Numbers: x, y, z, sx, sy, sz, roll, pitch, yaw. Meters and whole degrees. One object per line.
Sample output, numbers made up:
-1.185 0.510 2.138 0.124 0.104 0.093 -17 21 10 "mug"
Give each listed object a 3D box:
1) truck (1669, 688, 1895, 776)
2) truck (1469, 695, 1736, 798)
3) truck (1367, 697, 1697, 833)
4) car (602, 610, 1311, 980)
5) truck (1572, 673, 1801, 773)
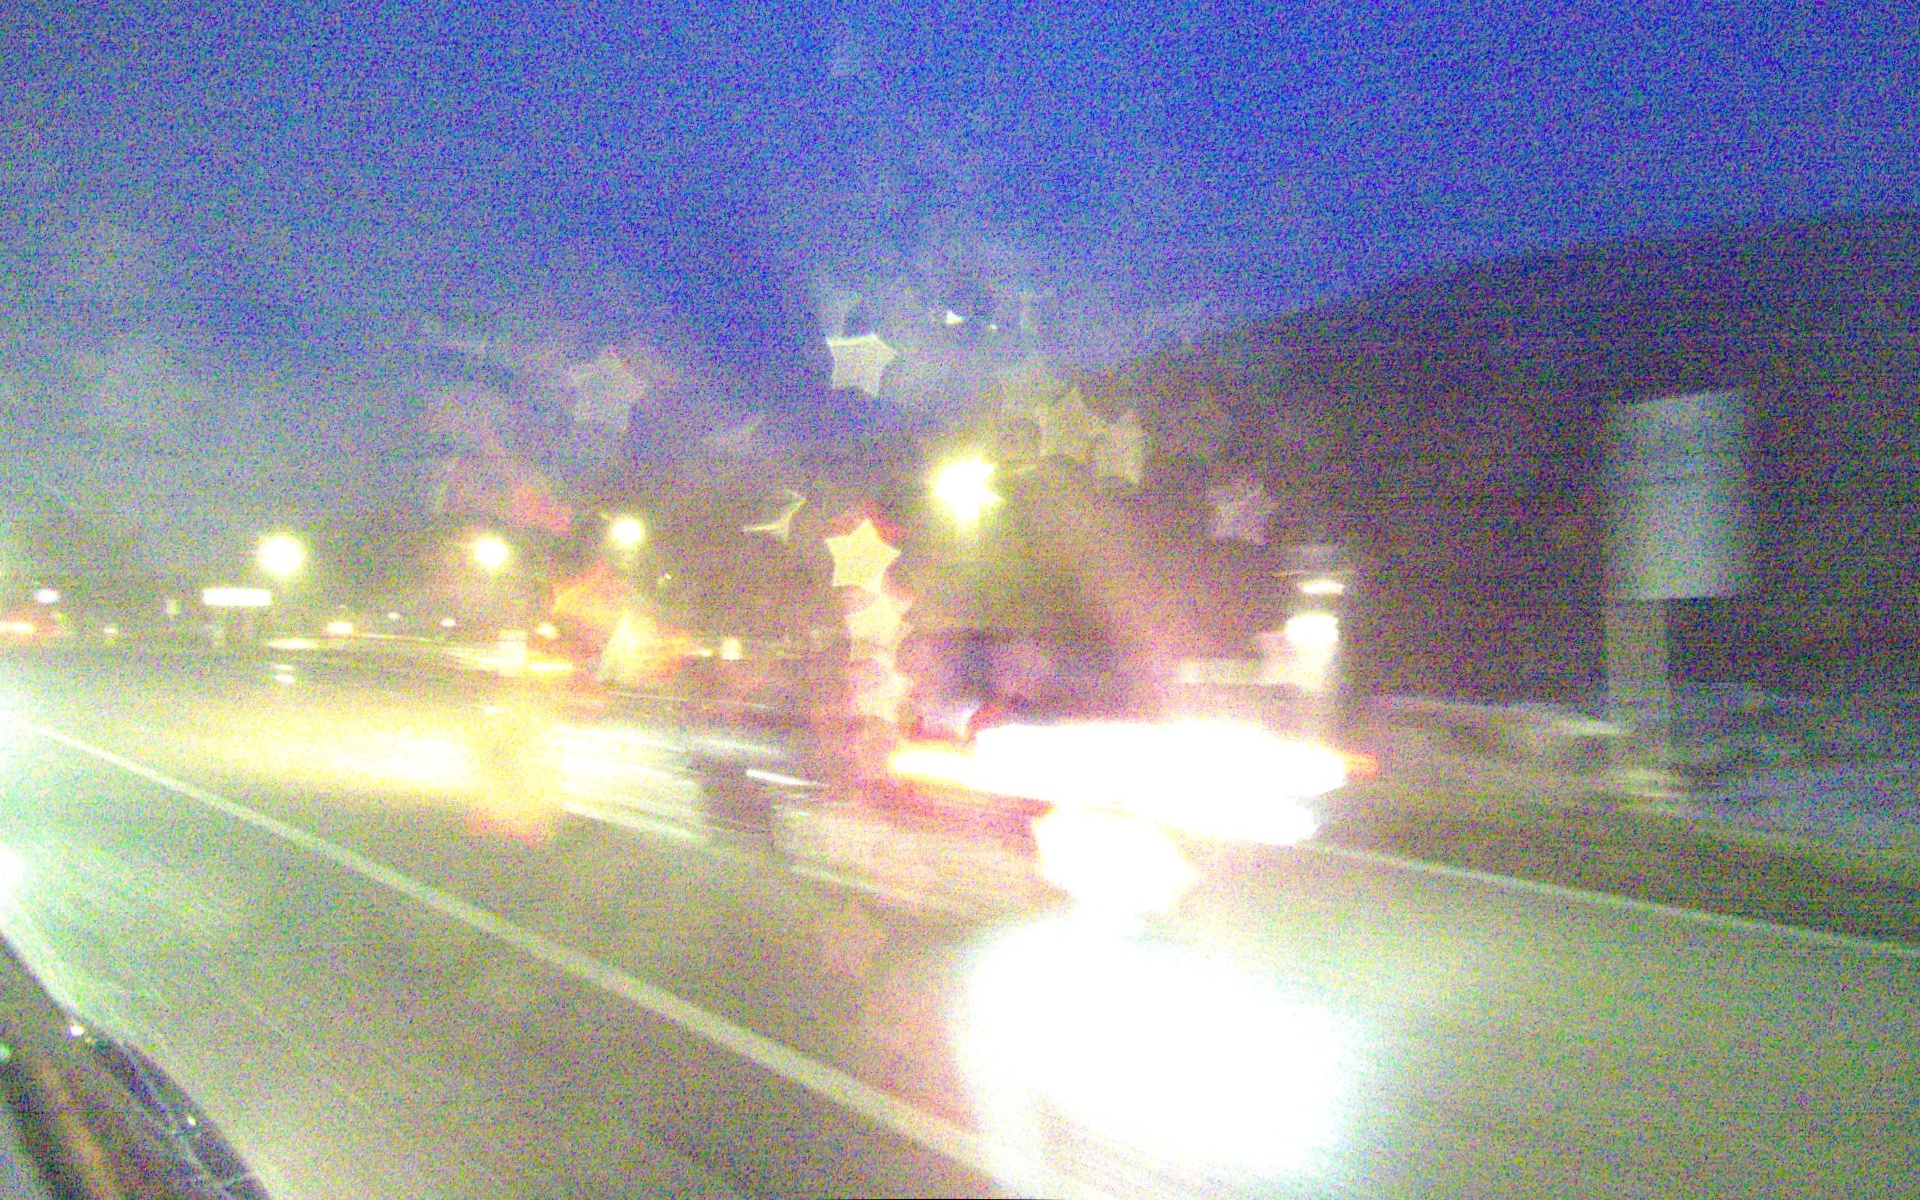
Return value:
32.599 5.164 40.397 6.869 2.825 2.145 0 -6 42 "truck"
20.308 4.542 32.345 2.142 2.538 6.878 7 -6 -42 "truck"
14.086 3.951 25.430 2.142 2.538 6.878 7 -6 -42 "truck"
-0.340 0.774 5.798 1.616 1.365 4.144 1 -2 -45 "car"
26.732 4.456 37.467 6.694 3.068 2.145 0 -6 42 "truck"
